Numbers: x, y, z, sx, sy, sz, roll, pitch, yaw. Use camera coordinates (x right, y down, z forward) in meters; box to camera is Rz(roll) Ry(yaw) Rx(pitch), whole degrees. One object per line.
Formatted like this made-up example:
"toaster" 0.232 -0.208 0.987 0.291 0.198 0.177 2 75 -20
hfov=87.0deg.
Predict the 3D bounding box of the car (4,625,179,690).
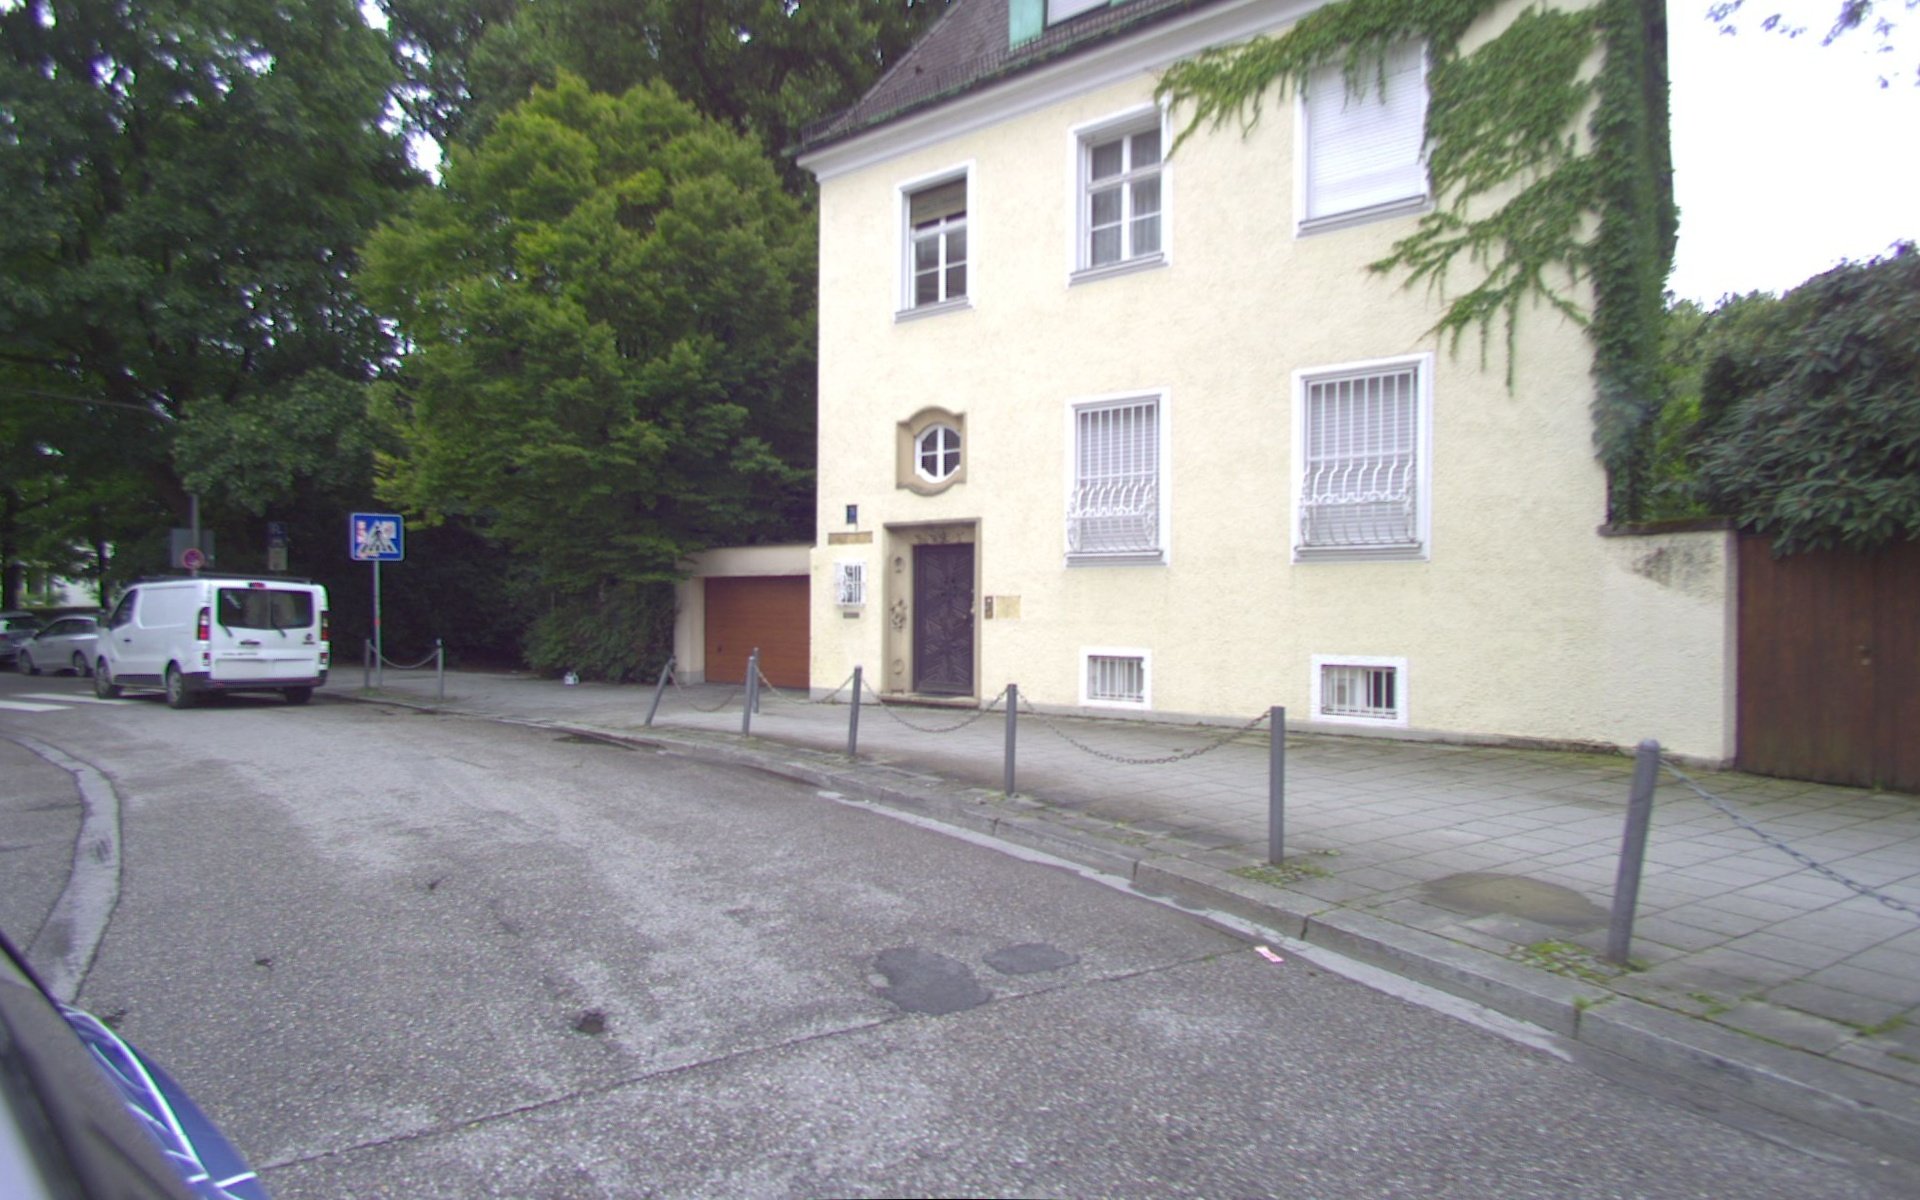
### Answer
"car" -21.358 1.361 24.865 4.410 1.460 1.611 0 -1 26

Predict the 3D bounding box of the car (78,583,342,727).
"car" -12.494 0.834 16.762 4.946 2.057 2.022 -1 -2 35

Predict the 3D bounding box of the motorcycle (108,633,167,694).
"motorcycle" -17.843 1.351 21.992 0.845 1.192 2.010 -2 1 -36

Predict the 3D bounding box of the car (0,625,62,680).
"car" -26.986 1.406 27.895 4.492 1.443 1.762 0 -1 26
